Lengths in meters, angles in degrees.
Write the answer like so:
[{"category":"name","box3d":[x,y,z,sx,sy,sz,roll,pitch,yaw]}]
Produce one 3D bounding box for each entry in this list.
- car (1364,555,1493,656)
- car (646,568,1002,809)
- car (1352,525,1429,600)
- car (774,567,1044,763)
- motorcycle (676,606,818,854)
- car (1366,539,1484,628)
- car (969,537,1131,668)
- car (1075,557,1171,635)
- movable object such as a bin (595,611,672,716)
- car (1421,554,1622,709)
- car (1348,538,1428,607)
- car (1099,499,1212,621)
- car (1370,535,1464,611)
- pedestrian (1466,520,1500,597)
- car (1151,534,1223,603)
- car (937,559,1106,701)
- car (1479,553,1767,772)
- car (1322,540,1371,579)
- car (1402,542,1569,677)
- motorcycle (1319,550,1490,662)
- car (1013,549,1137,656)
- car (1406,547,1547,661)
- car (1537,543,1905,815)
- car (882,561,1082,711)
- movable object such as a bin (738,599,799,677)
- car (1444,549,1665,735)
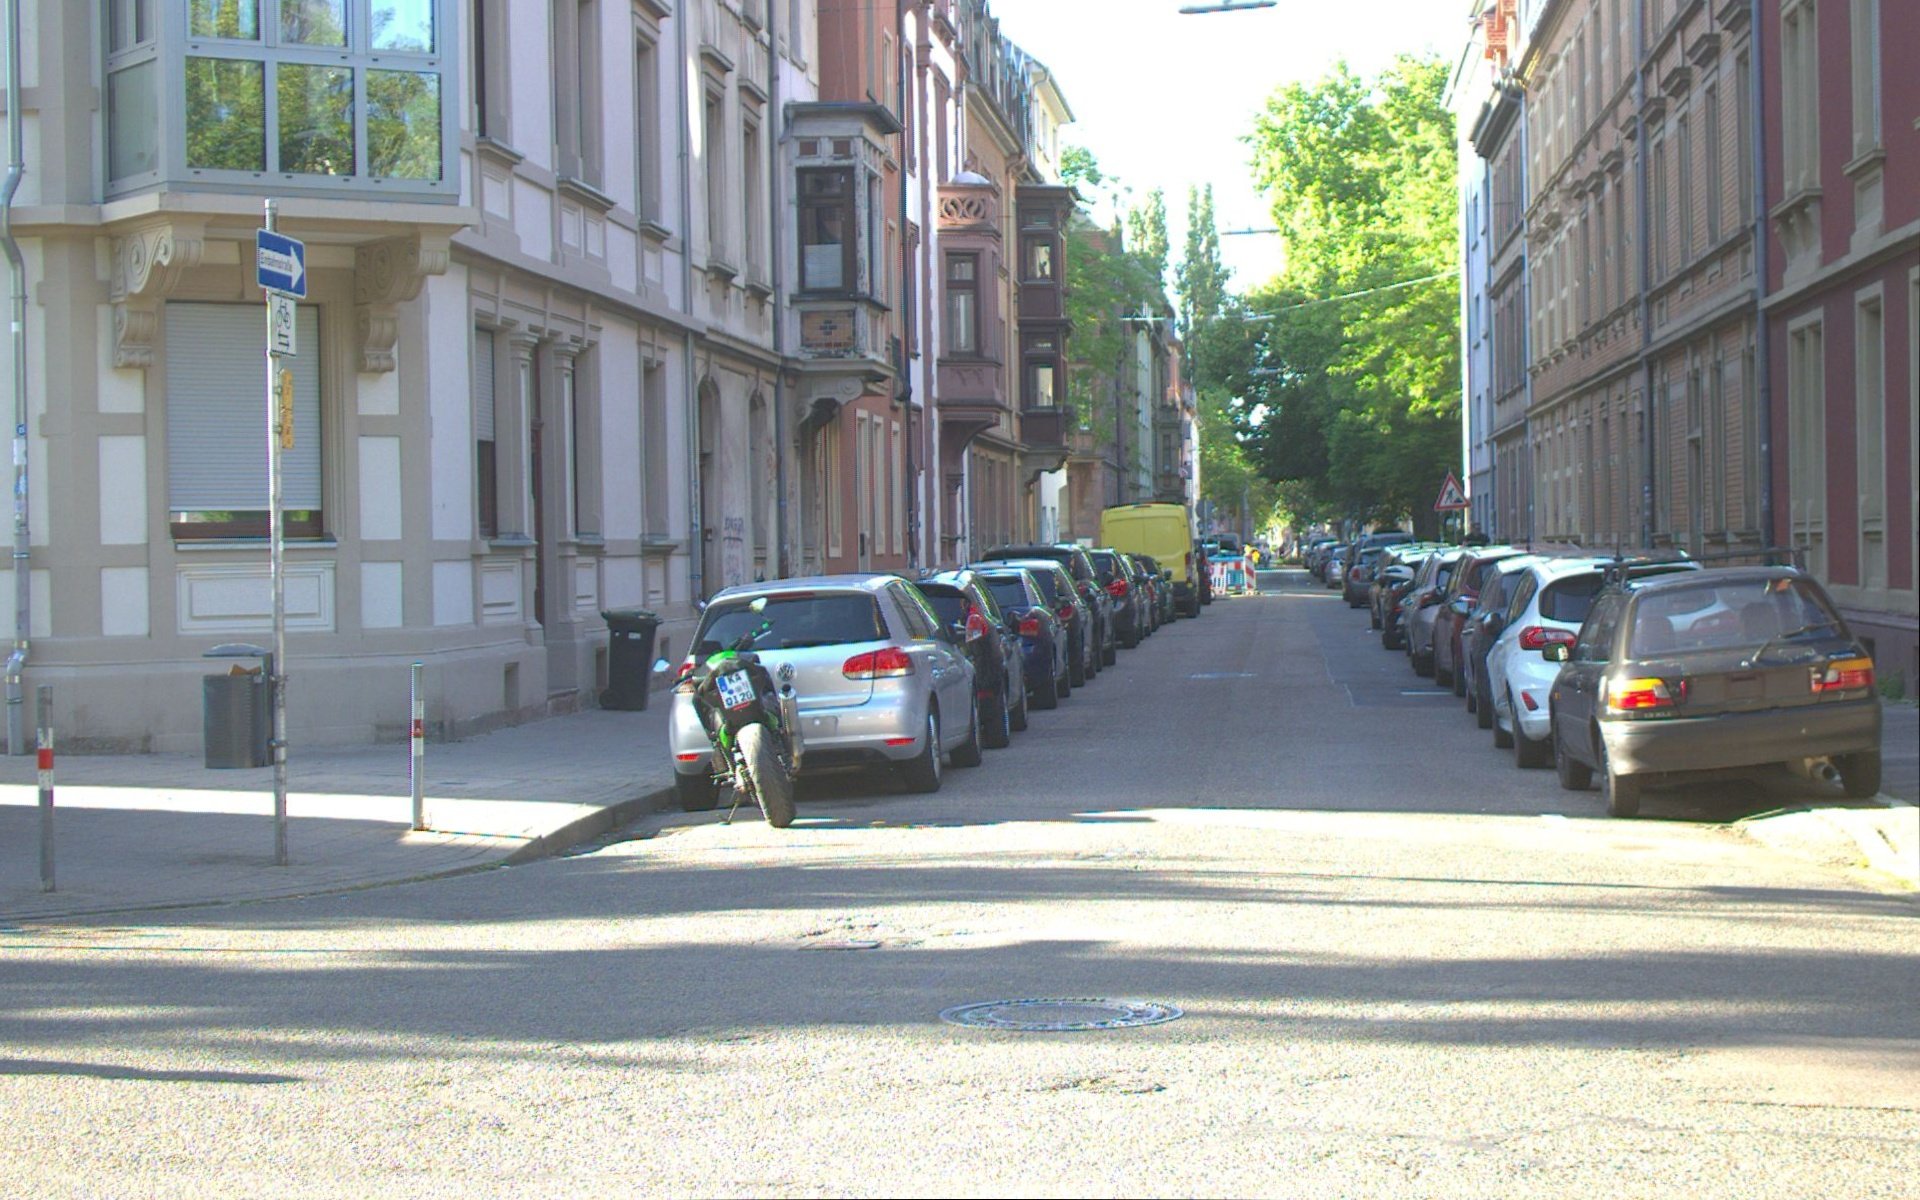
[{"category":"car","box3d":[7.044,0.049,51.988,1.778,1.392,4.316,-1,1,6]},{"category":"car","box3d":[-0.849,0.548,23.840,1.781,1.478,3.931,-1,1,8]},{"category":"car","box3d":[11.182,-1.001,89.513,1.754,1.780,4.723,-4,1,5]},{"category":"car","box3d":[-0.356,0.494,28.694,1.781,1.478,3.742,-1,1,6]},{"category":"motorcycle","box3d":[-1.254,0.742,20.536,0.676,1.329,2.001,-4,1,-1]},{"category":"car","box3d":[8.448,-0.318,62.725,1.754,1.441,4.068,-4,1,4]},{"category":"car","box3d":[1.229,-0.005,45.064,1.761,1.612,4.188,-1,1,6]},{"category":"car","box3d":[3.118,-0.096,65.407,1.618,1.322,3.612,-4,1,5]},{"category":"movable object such as a bin","box3d":[-3.043,0.587,32.091,0.621,0.952,0.511,1,1,6]},{"category":"car","box3d":[5.854,0.290,36.227,1.659,1.474,4.024,-1,1,3]},{"category":"car","box3d":[10.470,-0.691,84.126,1.754,1.448,4.287,-5,1,7]},{"category":"car","box3d":[4.406,-0.907,76.720,2.175,2.499,5.877,-3,1,5]},{"category":"car","box3d":[10.368,-0.630,78.216,1.754,1.513,4.443,-5,1,5]},{"category":"pedestrian","box3d":[11.328,-0.893,74.459,0.653,1.625,0.880,-3,0,9]},{"category":"car","box3d":[6.017,-0.857,91.385,1.819,1.760,4.335,-1,1,3]},{"category":"car","box3d":[0.760,0.307,39.905,1.643,1.450,3.838,-3,1,5]},{"category":"car","box3d":[4.816,0.401,25.410,1.705,1.457,3.969,-1,1,5]},{"category":"car","box3d":[16.247,-1.696,144.659,1.894,1.620,3.999,-1,0,5]},{"category":"car","box3d":[6.249,0.077,41.228,1.762,1.479,4.400,-1,1,6]},{"category":"motorcycle","box3d":[6.298,0.080,48.731,2.218,1.531,0.890,1,1,-20]},{"category":"car","box3d":[1.863,0.006,54.676,1.781,1.600,4.069,-1,1,4]},{"category":"car","box3d":[6.902,0.024,46.251,1.692,1.401,3.991,-1,1,6]},{"category":"car","box3d":[4.525,0.411,20.896,1.668,1.478,3.706,-1,1,5]},{"category":"car","box3d":[0.277,0.331,35.068,1.781,1.398,3.742,-1,1,4]},{"category":"movable object such as a bin","box3d":[-2.302,0.450,41.403,0.612,0.917,0.734,-1,1,5]},{"category":"car","box3d":[5.263,0.323,30.839,1.677,1.498,4.068,-1,1,6]}]
